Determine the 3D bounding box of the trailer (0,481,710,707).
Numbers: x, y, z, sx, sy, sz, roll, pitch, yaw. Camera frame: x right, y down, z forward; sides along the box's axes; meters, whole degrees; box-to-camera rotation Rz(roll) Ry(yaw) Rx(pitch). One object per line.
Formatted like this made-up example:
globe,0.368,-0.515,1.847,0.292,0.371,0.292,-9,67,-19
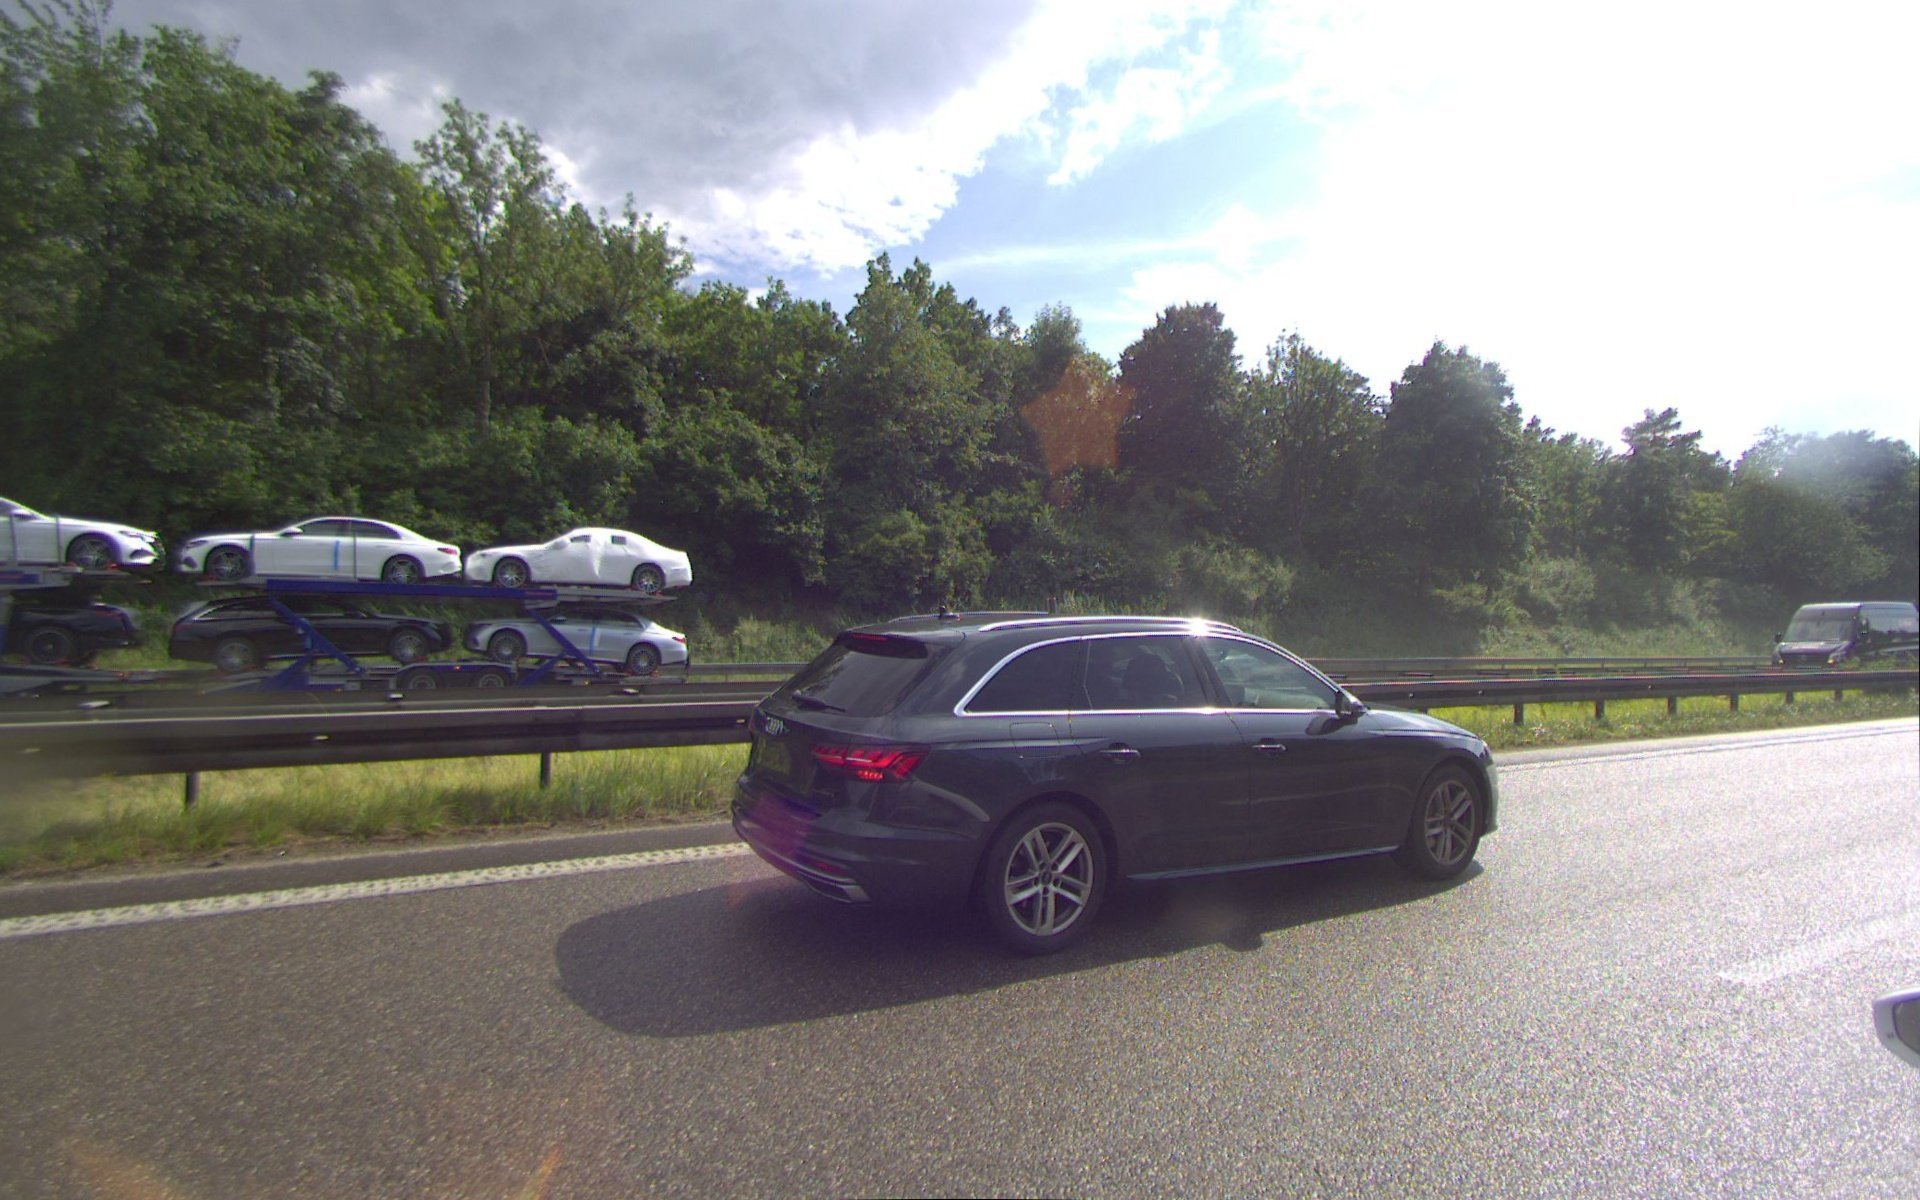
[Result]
trailer,-14.281,-0.028,20.326,17.743,3.882,2.975,2,0,-31

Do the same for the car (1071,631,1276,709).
car,4.840,1.525,22.565,4.477,1.519,1.808,2,0,-32

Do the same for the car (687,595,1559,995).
car,1.105,0.768,5.627,4.783,1.437,1.785,2,0,-31

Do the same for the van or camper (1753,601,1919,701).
van or camper,28.374,1.590,32.235,6.760,2.908,2.252,2,0,-31
